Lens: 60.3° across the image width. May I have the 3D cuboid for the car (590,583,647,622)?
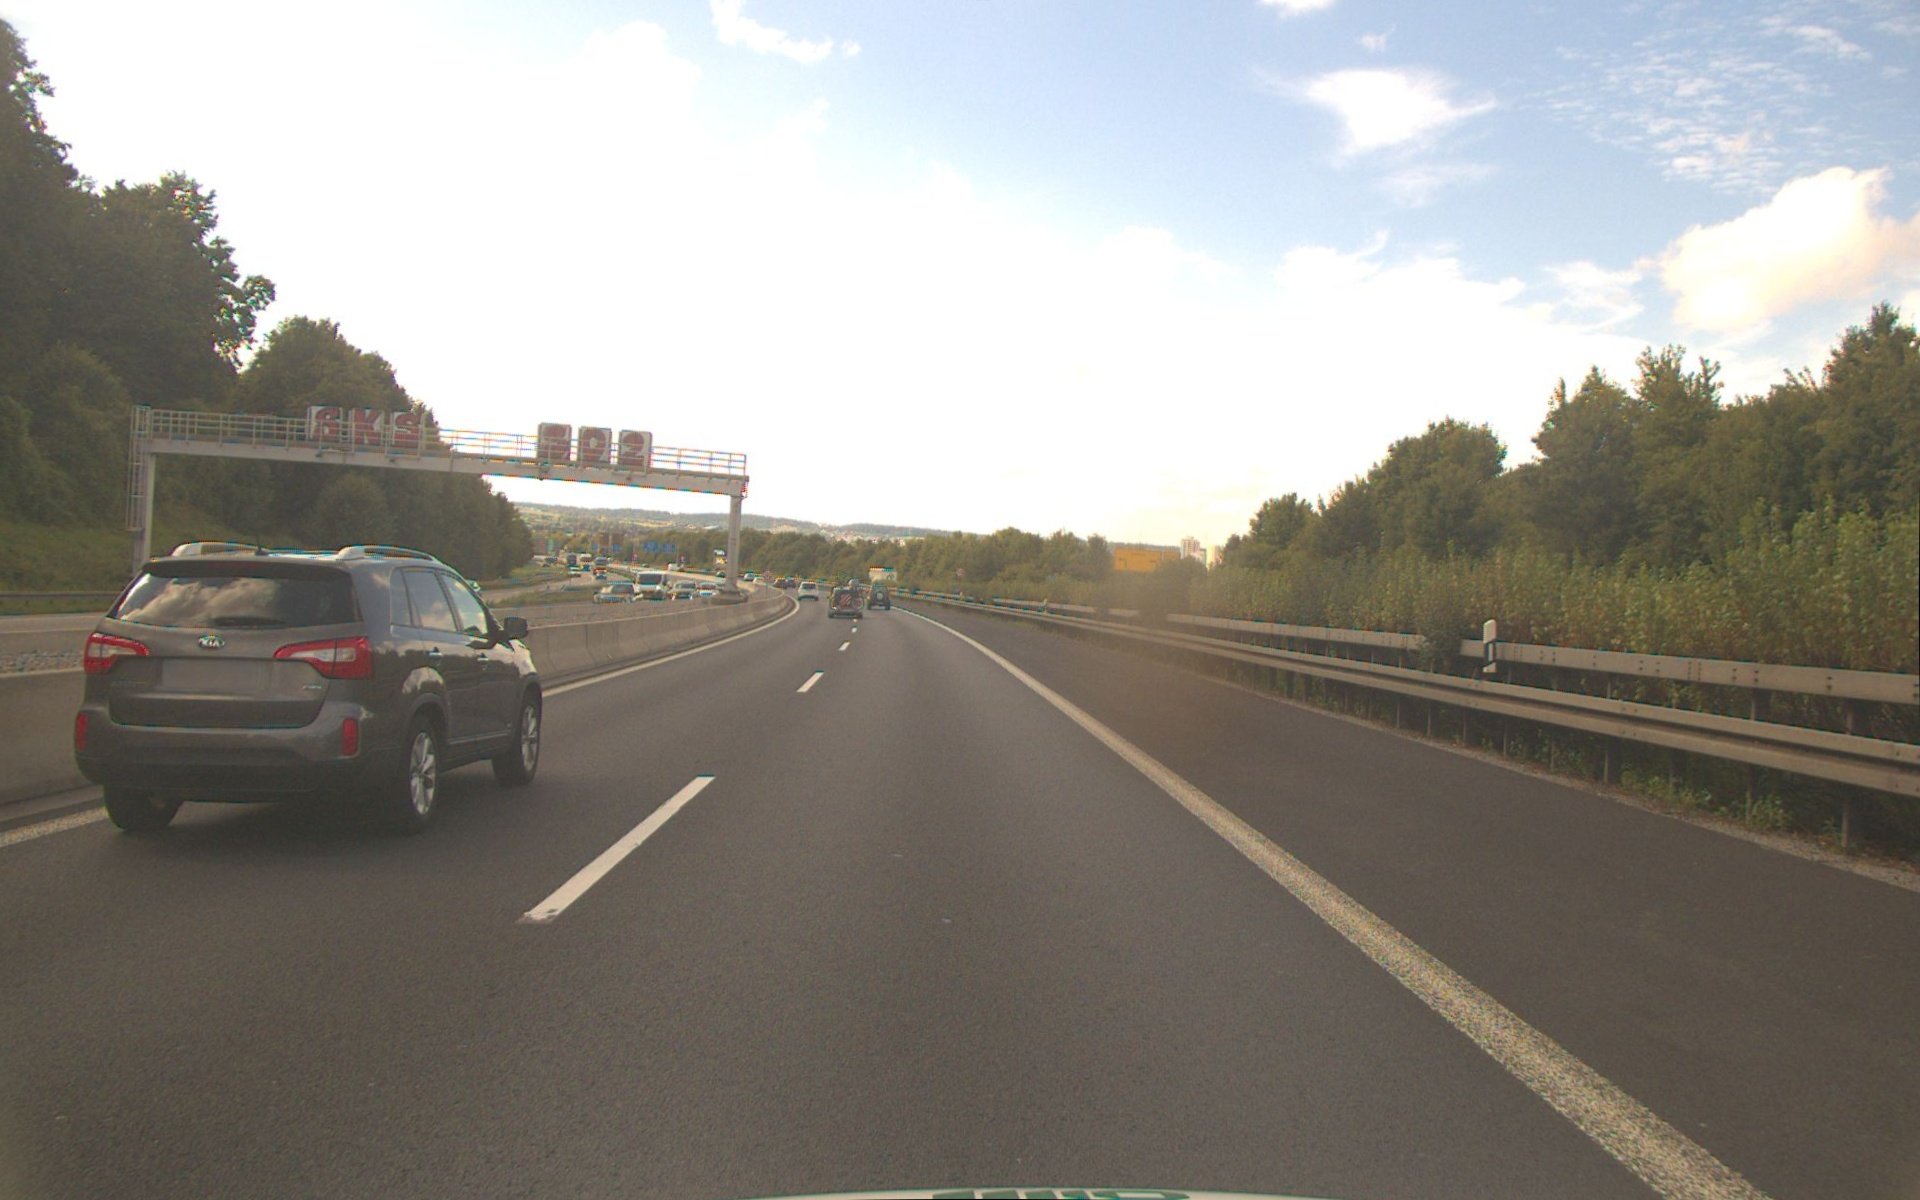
[{"bbox_3d":[-14.675,0.089,71.265,1.665,1.566,4.498,1,0,-3],"label":"car"}]

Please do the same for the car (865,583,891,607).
[{"bbox_3d":[-5.915,-0.355,118.676,1.557,1.624,4.090,1,1,-7],"label":"car"}]

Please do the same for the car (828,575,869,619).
[{"bbox_3d":[-5.857,-0.182,87.281,1.990,2.189,3.999,1,1,-2],"label":"car"}]

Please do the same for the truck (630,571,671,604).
[{"bbox_3d":[-22.417,-0.883,119.973,2.140,2.264,5.568,1,0,-3],"label":"truck"}]

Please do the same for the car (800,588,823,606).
[{"bbox_3d":[-14.076,-0.263,156.631,1.956,1.713,3.992,1,-1,-8],"label":"car"}]

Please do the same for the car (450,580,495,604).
[{"bbox_3d":[-28.448,-0.461,96.583,1.787,1.334,4.182,1,0,-6],"label":"car"}]

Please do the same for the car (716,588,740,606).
[{"bbox_3d":[-22.475,-0.284,160.138,1.954,1.669,3.997,1,0,-4],"label":"car"}]

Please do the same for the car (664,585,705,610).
[{"bbox_3d":[-18.045,-0.152,108.568,1.954,1.563,5.282,1,0,-3],"label":"car"}]

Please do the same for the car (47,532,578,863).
[{"bbox_3d":[-4.116,0.516,11.594,1.781,1.766,5.185,1,0,-2],"label":"car"}]

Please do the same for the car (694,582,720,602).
[{"bbox_3d":[-19.268,-0.635,125.966,1.534,1.475,3.886,1,0,-3],"label":"car"}]

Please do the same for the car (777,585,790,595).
[{"bbox_3d":[-27.315,-1.547,256.124,1.576,1.585,3.988,1,-1,-12],"label":"car"}]

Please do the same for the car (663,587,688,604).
[{"bbox_3d":[-23.899,-0.395,138.942,1.633,1.420,4.597,1,0,-4],"label":"car"}]

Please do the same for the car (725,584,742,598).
[{"bbox_3d":[-28.721,-1.164,209.815,1.730,1.608,4.928,2,0,-4],"label":"car"}]
